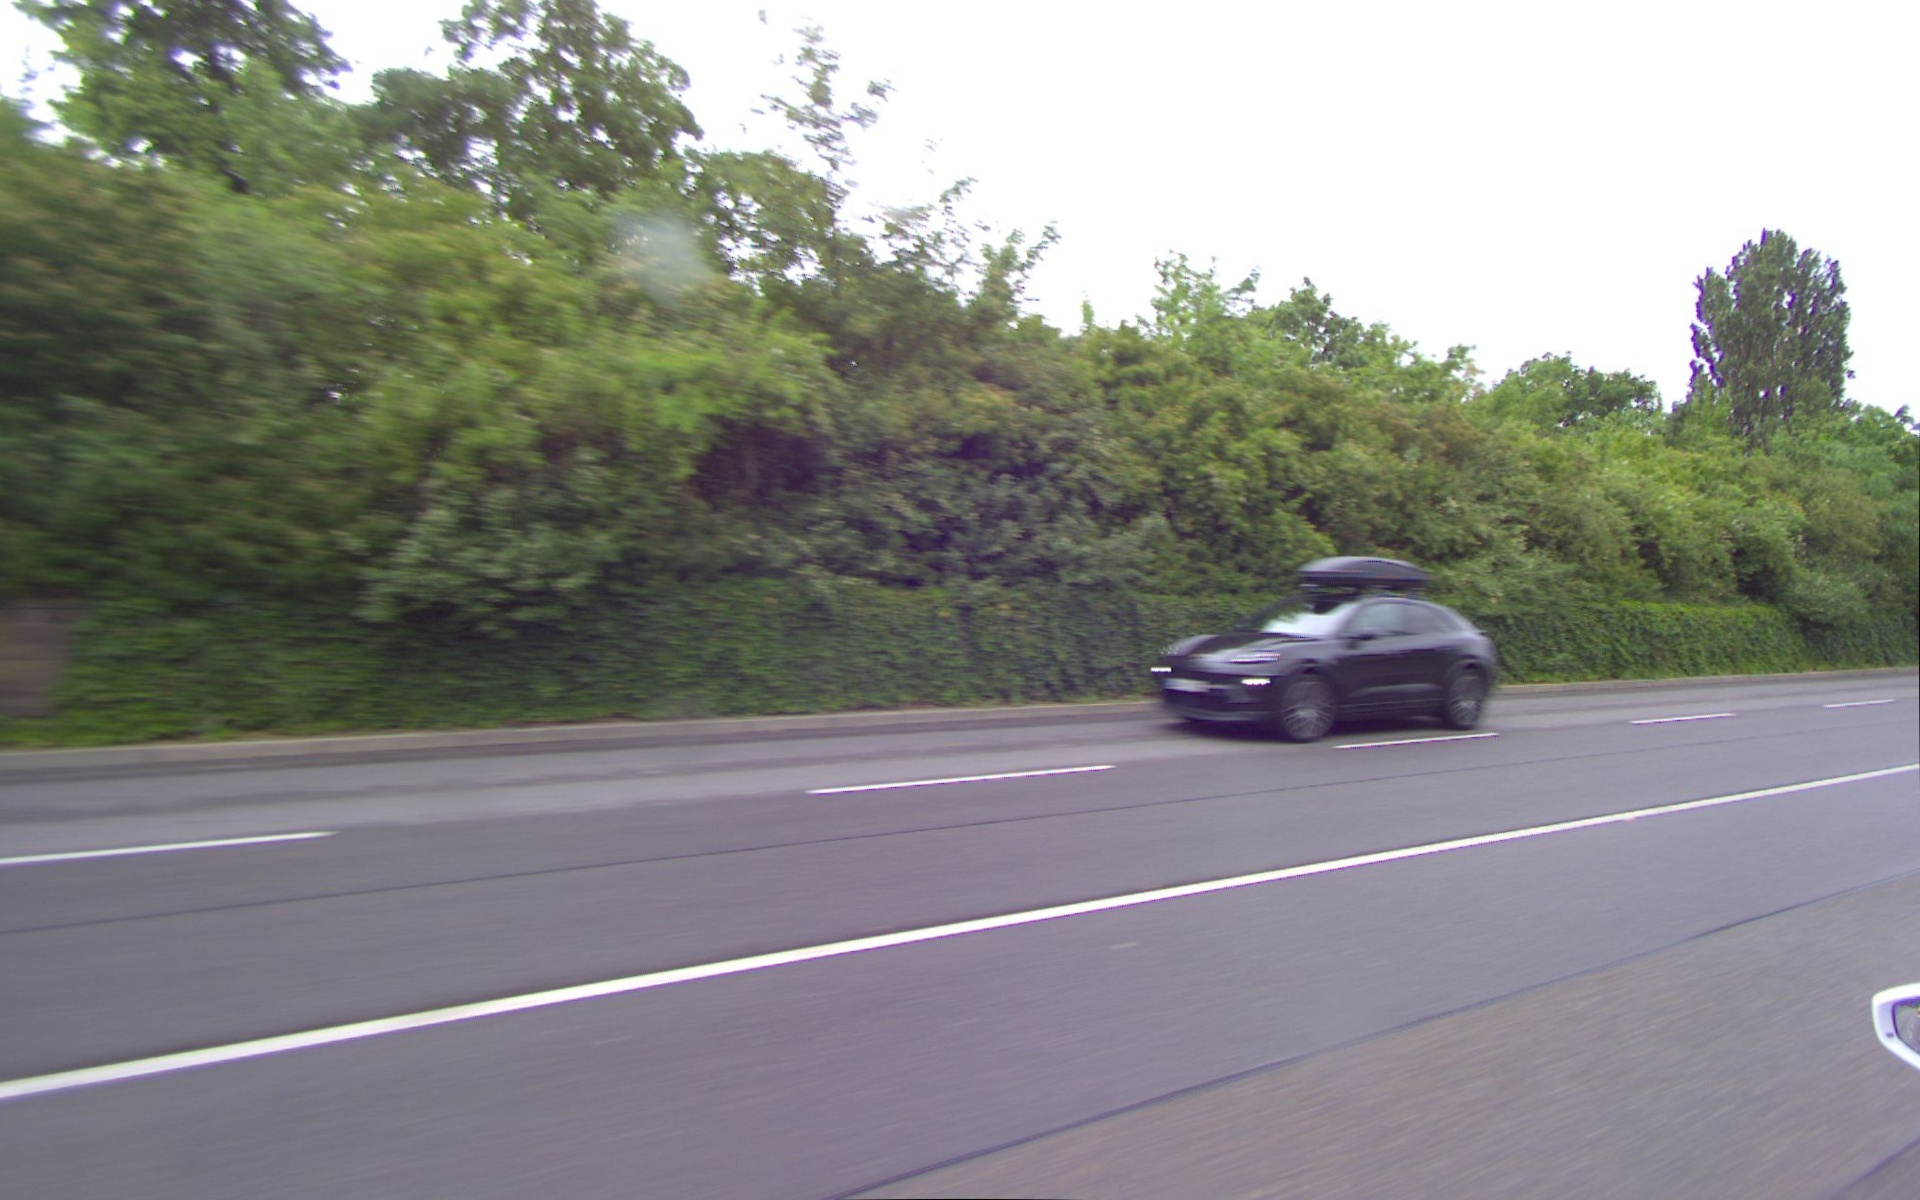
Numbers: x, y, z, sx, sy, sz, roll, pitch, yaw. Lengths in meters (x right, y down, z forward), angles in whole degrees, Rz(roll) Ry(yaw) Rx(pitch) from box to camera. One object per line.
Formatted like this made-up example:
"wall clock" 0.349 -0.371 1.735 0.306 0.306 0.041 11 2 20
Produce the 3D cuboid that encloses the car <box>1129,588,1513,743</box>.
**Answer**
"car" 4.471 0.704 12.291 4.575 1.573 1.890 1 1 -30
